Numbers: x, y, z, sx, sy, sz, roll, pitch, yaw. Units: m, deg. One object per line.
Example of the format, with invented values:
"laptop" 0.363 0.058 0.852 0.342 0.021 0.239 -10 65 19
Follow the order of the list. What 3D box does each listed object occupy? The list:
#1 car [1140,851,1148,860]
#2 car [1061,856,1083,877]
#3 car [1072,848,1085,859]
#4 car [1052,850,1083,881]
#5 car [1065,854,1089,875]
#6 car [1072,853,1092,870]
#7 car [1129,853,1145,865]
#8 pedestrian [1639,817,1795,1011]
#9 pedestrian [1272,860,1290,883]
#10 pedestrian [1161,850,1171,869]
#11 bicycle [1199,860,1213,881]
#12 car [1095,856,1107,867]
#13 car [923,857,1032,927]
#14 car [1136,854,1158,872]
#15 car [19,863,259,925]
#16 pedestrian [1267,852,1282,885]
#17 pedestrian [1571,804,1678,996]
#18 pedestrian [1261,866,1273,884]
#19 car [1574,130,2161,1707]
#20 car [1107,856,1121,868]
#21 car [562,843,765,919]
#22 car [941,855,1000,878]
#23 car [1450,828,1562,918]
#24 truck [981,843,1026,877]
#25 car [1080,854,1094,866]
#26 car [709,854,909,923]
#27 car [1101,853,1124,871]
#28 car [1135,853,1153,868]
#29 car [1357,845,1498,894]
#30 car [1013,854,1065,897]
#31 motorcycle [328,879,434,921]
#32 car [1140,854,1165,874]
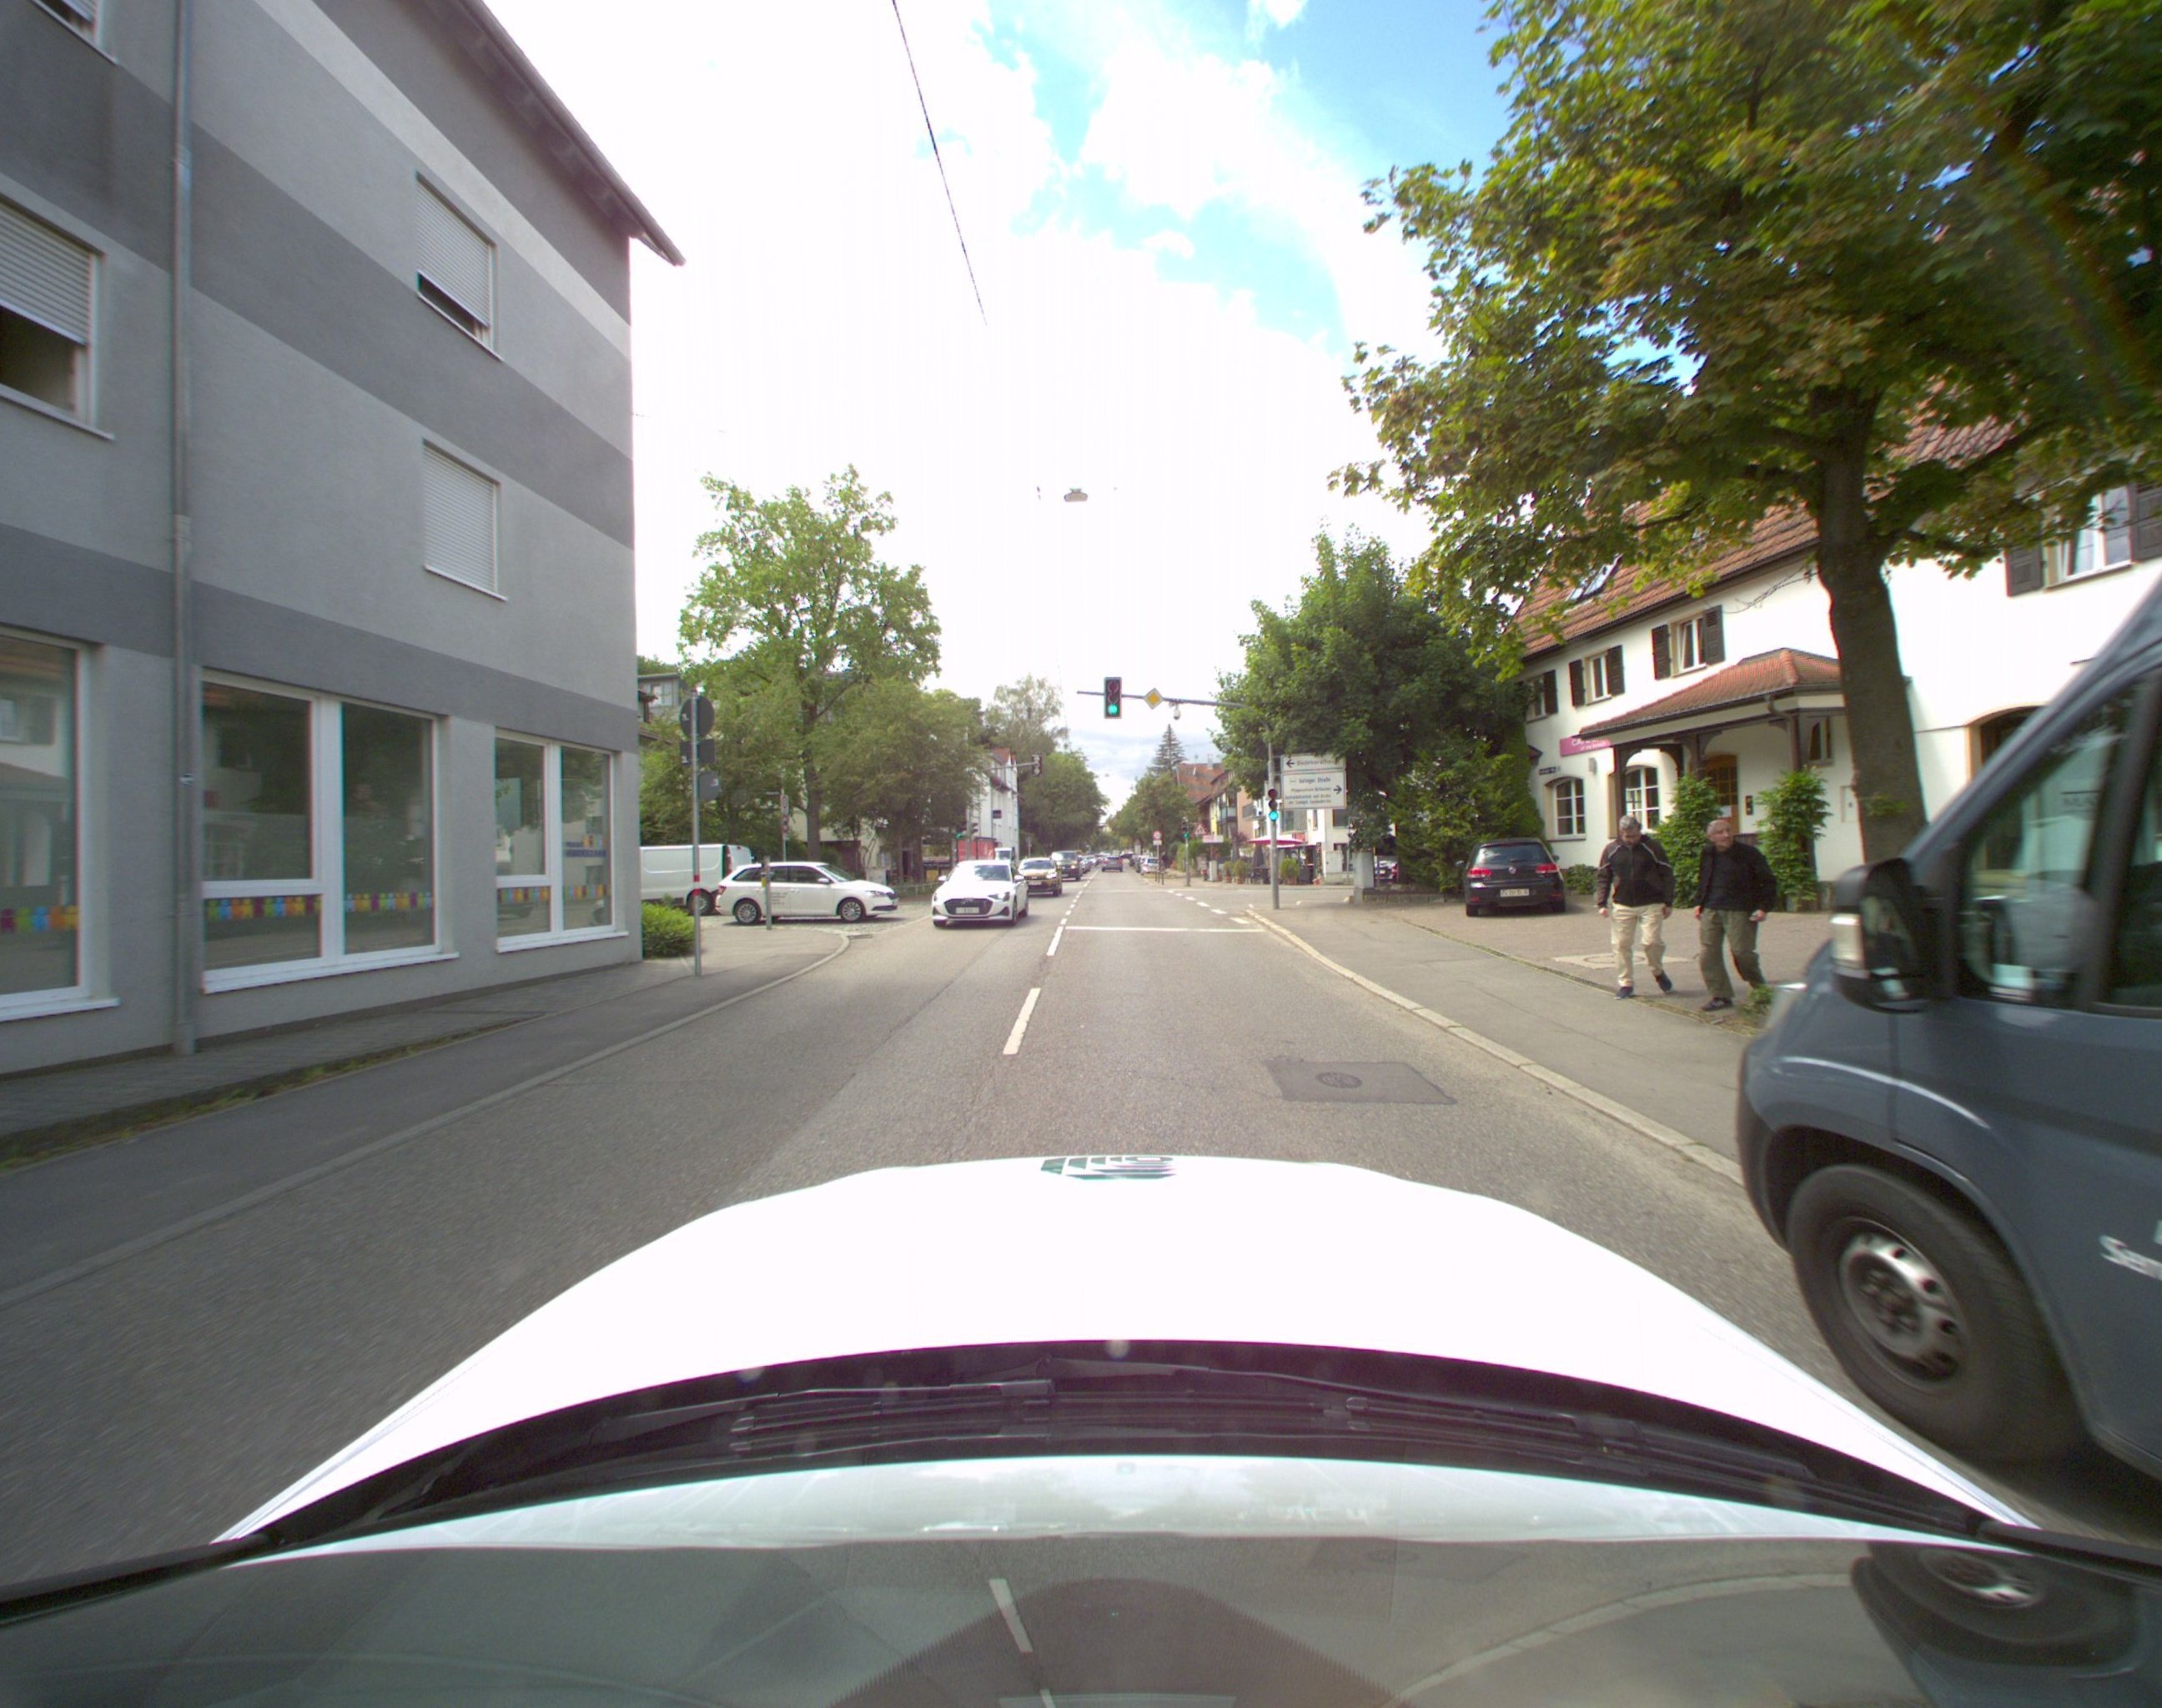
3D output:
"car" 15.574 0.384 202.121 1.985 2.014 4.004 -1 -1 4
"car" -0.694 0.915 62.455 1.612 1.486 3.812 -1 0 0
"car" -0.447 -0.054 157.313 2.136 1.981 4.937 -1 -1 5
"car" -0.817 0.705 52.054 1.871 1.912 4.751 -1 0 0
"car" -0.302 0.877 69.678 1.799 1.571 4.161 -3 0 2
"car" 0.115 0.694 77.274 1.722 1.502 4.377 -3 0 1
"car" 7.055 0.590 102.367 1.795 1.445 4.888 1 0 1
"pedestrian" 5.672 0.514 7.316 0.781 1.643 0.800 -1 0 7
"pedestrian" 9.602 0.848 39.044 0.568 1.089 0.629 -1 -1 -23
"pedestrian" 7.774 0.539 74.619 0.877 1.712 0.843 -1 -1 3
"bicycle" 7.317 0.955 47.791 0.716 1.150 2.218 -1 -1 8
"car" 3.323 1.232 134.523 1.779 1.648 4.494 -3 0 3
"car" -2.267 0.791 18.941 1.867 1.424 4.117 -1 0 2
"car" 5.810 0.781 72.114 1.727 1.428 4.885 2 0 2
"car" -25.897 1.063 22.526 4.134 1.576 2.037 -1 0 -2
"pedestrian" 10.369 0.766 43.637 0.429 1.762 0.671 -1 -1 -19
"pedestrian" 5.432 0.430 8.136 0.733 1.782 0.905 -2 0 42
"pedestrian" 9.919 1.106 43.374 0.419 0.938 0.494 -1 -1 -19
"car" 2.868 0.115 0.119 2.138 2.770 6.256 -1 0 4
"car" 4.498 1.105 110.568 1.808 1.501 4.271 0 0 3
"car" -11.704 0.734 23.107 4.607 2.009 2.094 -1 0 -1
"car" -7.253 0.786 53.679 3.683 1.425 1.804 -1 0 -2
"car" 8.782 0.310 16.996 1.735 1.517 4.104 -5 0 26
"truck" -5.736 0.431 60.957 2.214 2.380 6.334 -1 -1 5
"car" 0.796 0.818 106.733 1.753 1.439 3.972 -3 0 2
"car" -6.504 0.807 19.822 4.196 1.513 1.823 -1 1 1
"car" 2.901 0.734 73.993 1.968 1.513 4.270 2 0 3
"car" 6.411 0.652 83.415 1.615 1.507 3.781 -1 0 2
"car" 11.697 0.497 27.532 4.178 1.415 1.770 -2 1 -15
"car" -1.589 0.794 32.085 1.722 1.538 4.001 -1 0 1
"motorcycle" -19.422 1.251 22.686 1.202 1.004 2.330 -1 0 -11
"car" 5.546 0.777 63.592 1.694 1.480 4.875 0 0 2
